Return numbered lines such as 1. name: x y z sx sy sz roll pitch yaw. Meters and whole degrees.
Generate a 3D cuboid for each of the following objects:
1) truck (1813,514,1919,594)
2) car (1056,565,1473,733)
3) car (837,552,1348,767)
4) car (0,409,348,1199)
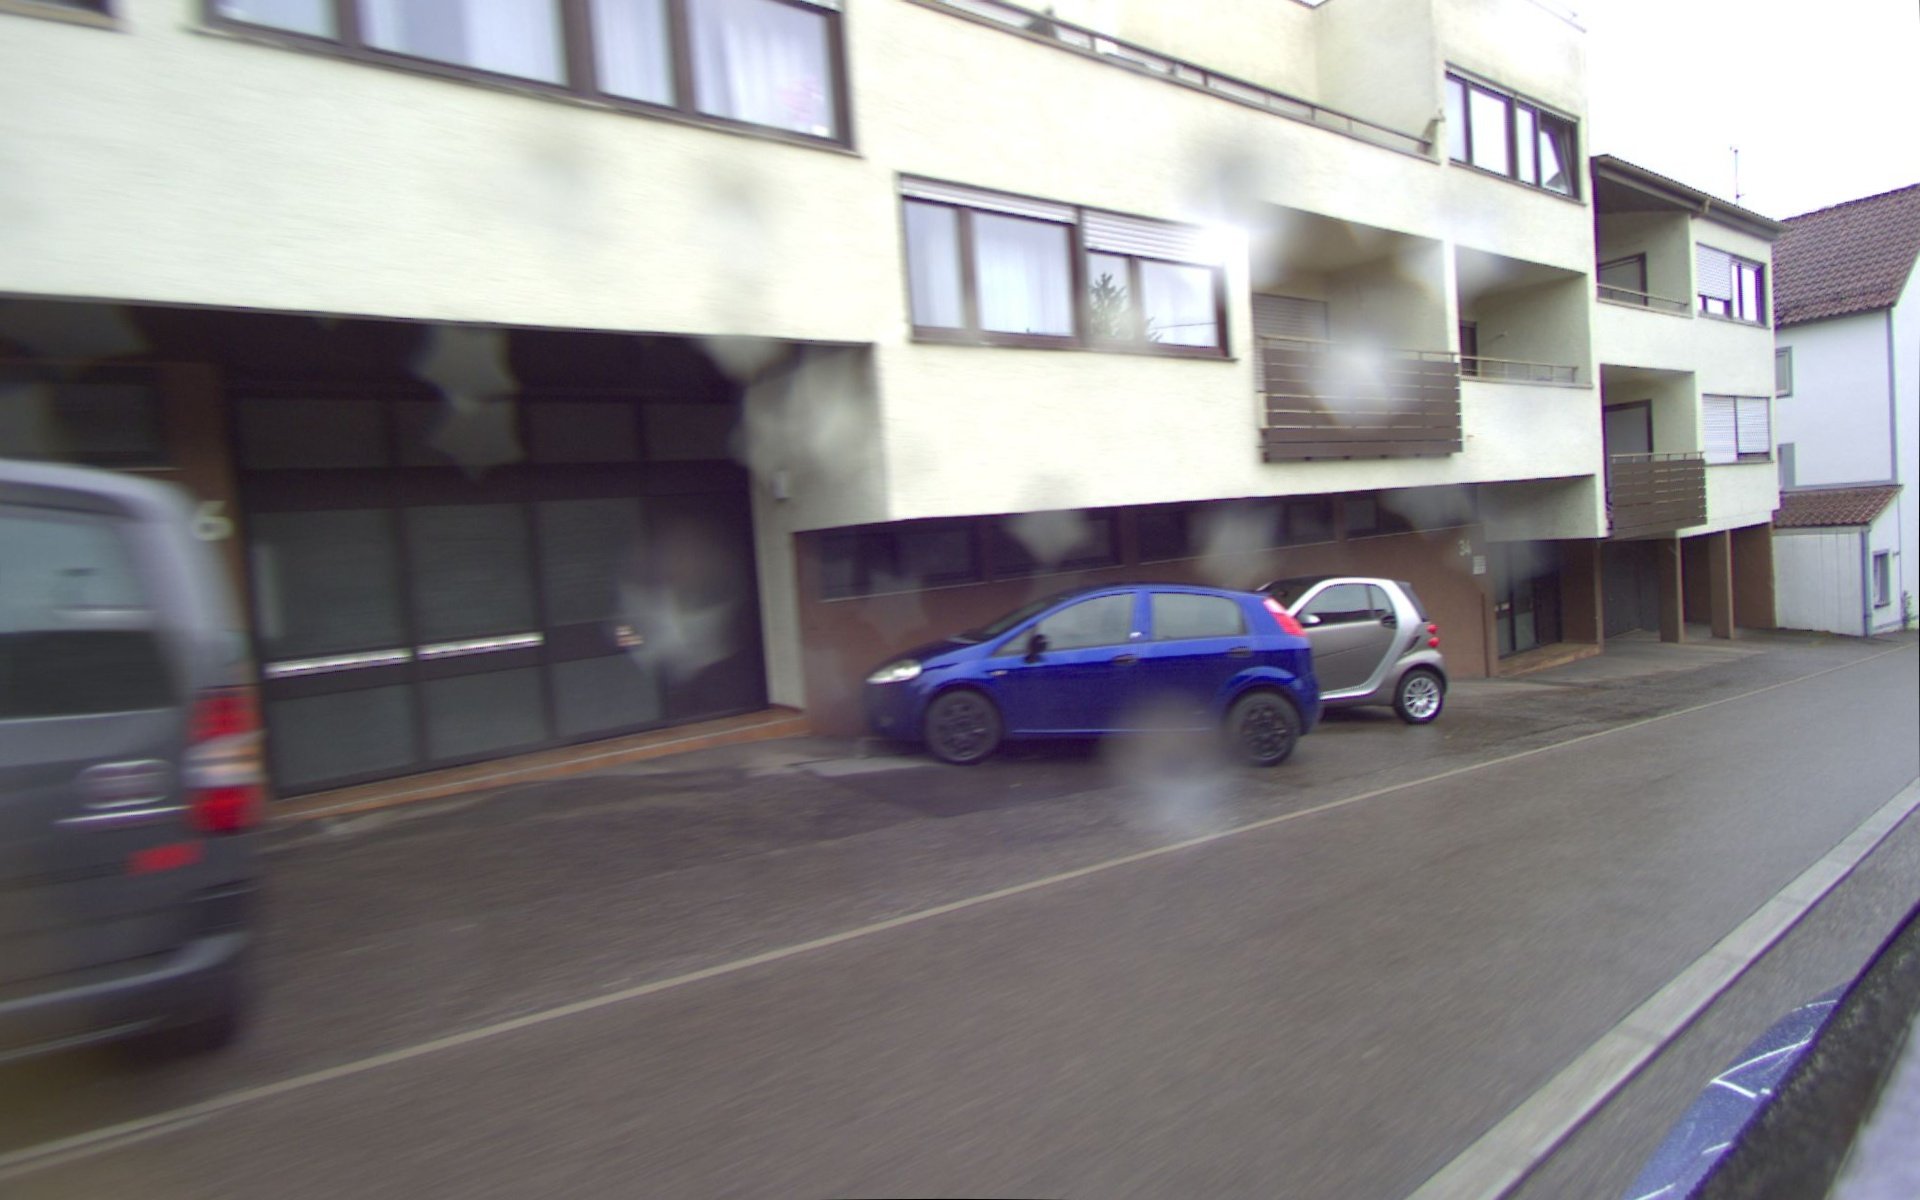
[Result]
1. truck: 34.827 -1.549 35.585 2.096 2.734 6.999 -1 6 -25
2. car: 3.260 0.480 11.159 3.982 1.599 1.790 -1 -1 -12
3. car: 1.020 0.481 8.858 3.988 1.599 1.787 -1 -1 -1
4. car: -3.907 0.458 3.936 1.964 1.843 4.717 0 1 -39
